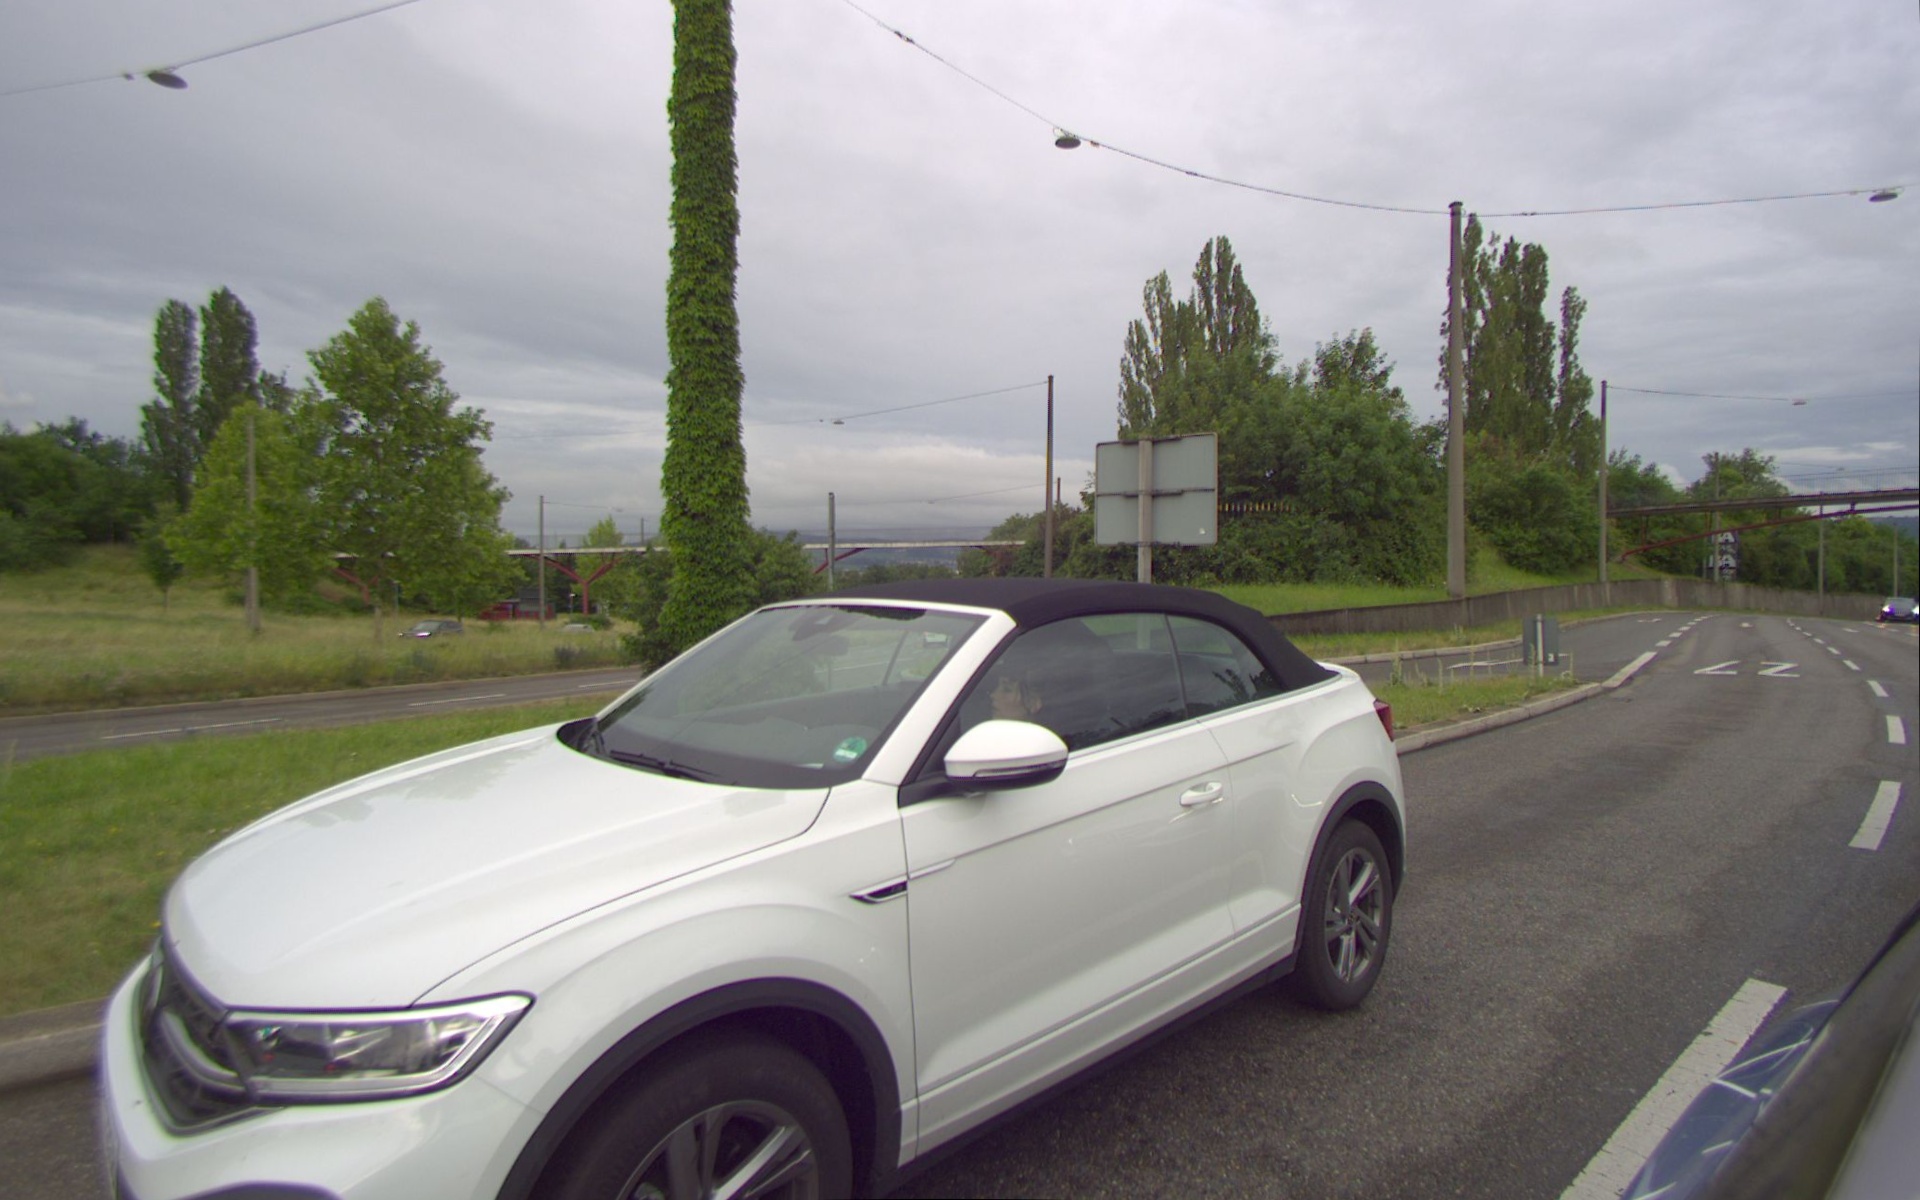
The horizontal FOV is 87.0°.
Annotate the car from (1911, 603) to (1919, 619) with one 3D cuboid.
[{"bbox_3d":[105.603,1.180,110.746,3.933,1.683,1.995,0,-2,-43],"label":"car"}]

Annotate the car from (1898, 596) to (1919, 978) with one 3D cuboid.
[{"bbox_3d":[5.639,0.656,4.181,4.058,1.385,1.895,-1,2,-37],"label":"car"}]

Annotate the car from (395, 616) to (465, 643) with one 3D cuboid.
[{"bbox_3d":[-29.352,1.647,56.164,1.571,1.428,3.955,-2,-2,4],"label":"car"}]

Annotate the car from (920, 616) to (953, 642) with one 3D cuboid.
[{"bbox_3d":[-1.856,2.245,77.637,1.959,1.872,4.828,-1,-1,-7],"label":"car"}]

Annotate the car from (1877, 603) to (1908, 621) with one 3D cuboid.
[{"bbox_3d":[94.085,1.225,102.057,3.933,1.683,1.995,0,-2,-43],"label":"car"}]

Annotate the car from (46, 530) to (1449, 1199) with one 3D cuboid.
[{"bbox_3d":[-0.098,0.651,3.258,4.161,1.572,1.714,-2,1,-44],"label":"car"}]

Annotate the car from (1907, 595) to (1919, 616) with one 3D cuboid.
[{"bbox_3d":[81.200,0.451,85.277,1.906,1.699,3.937,-3,-2,44],"label":"car"}]

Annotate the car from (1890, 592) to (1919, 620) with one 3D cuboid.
[{"bbox_3d":[60.157,0.396,63.800,3.932,1.699,1.908,0,-2,-43],"label":"car"}]
